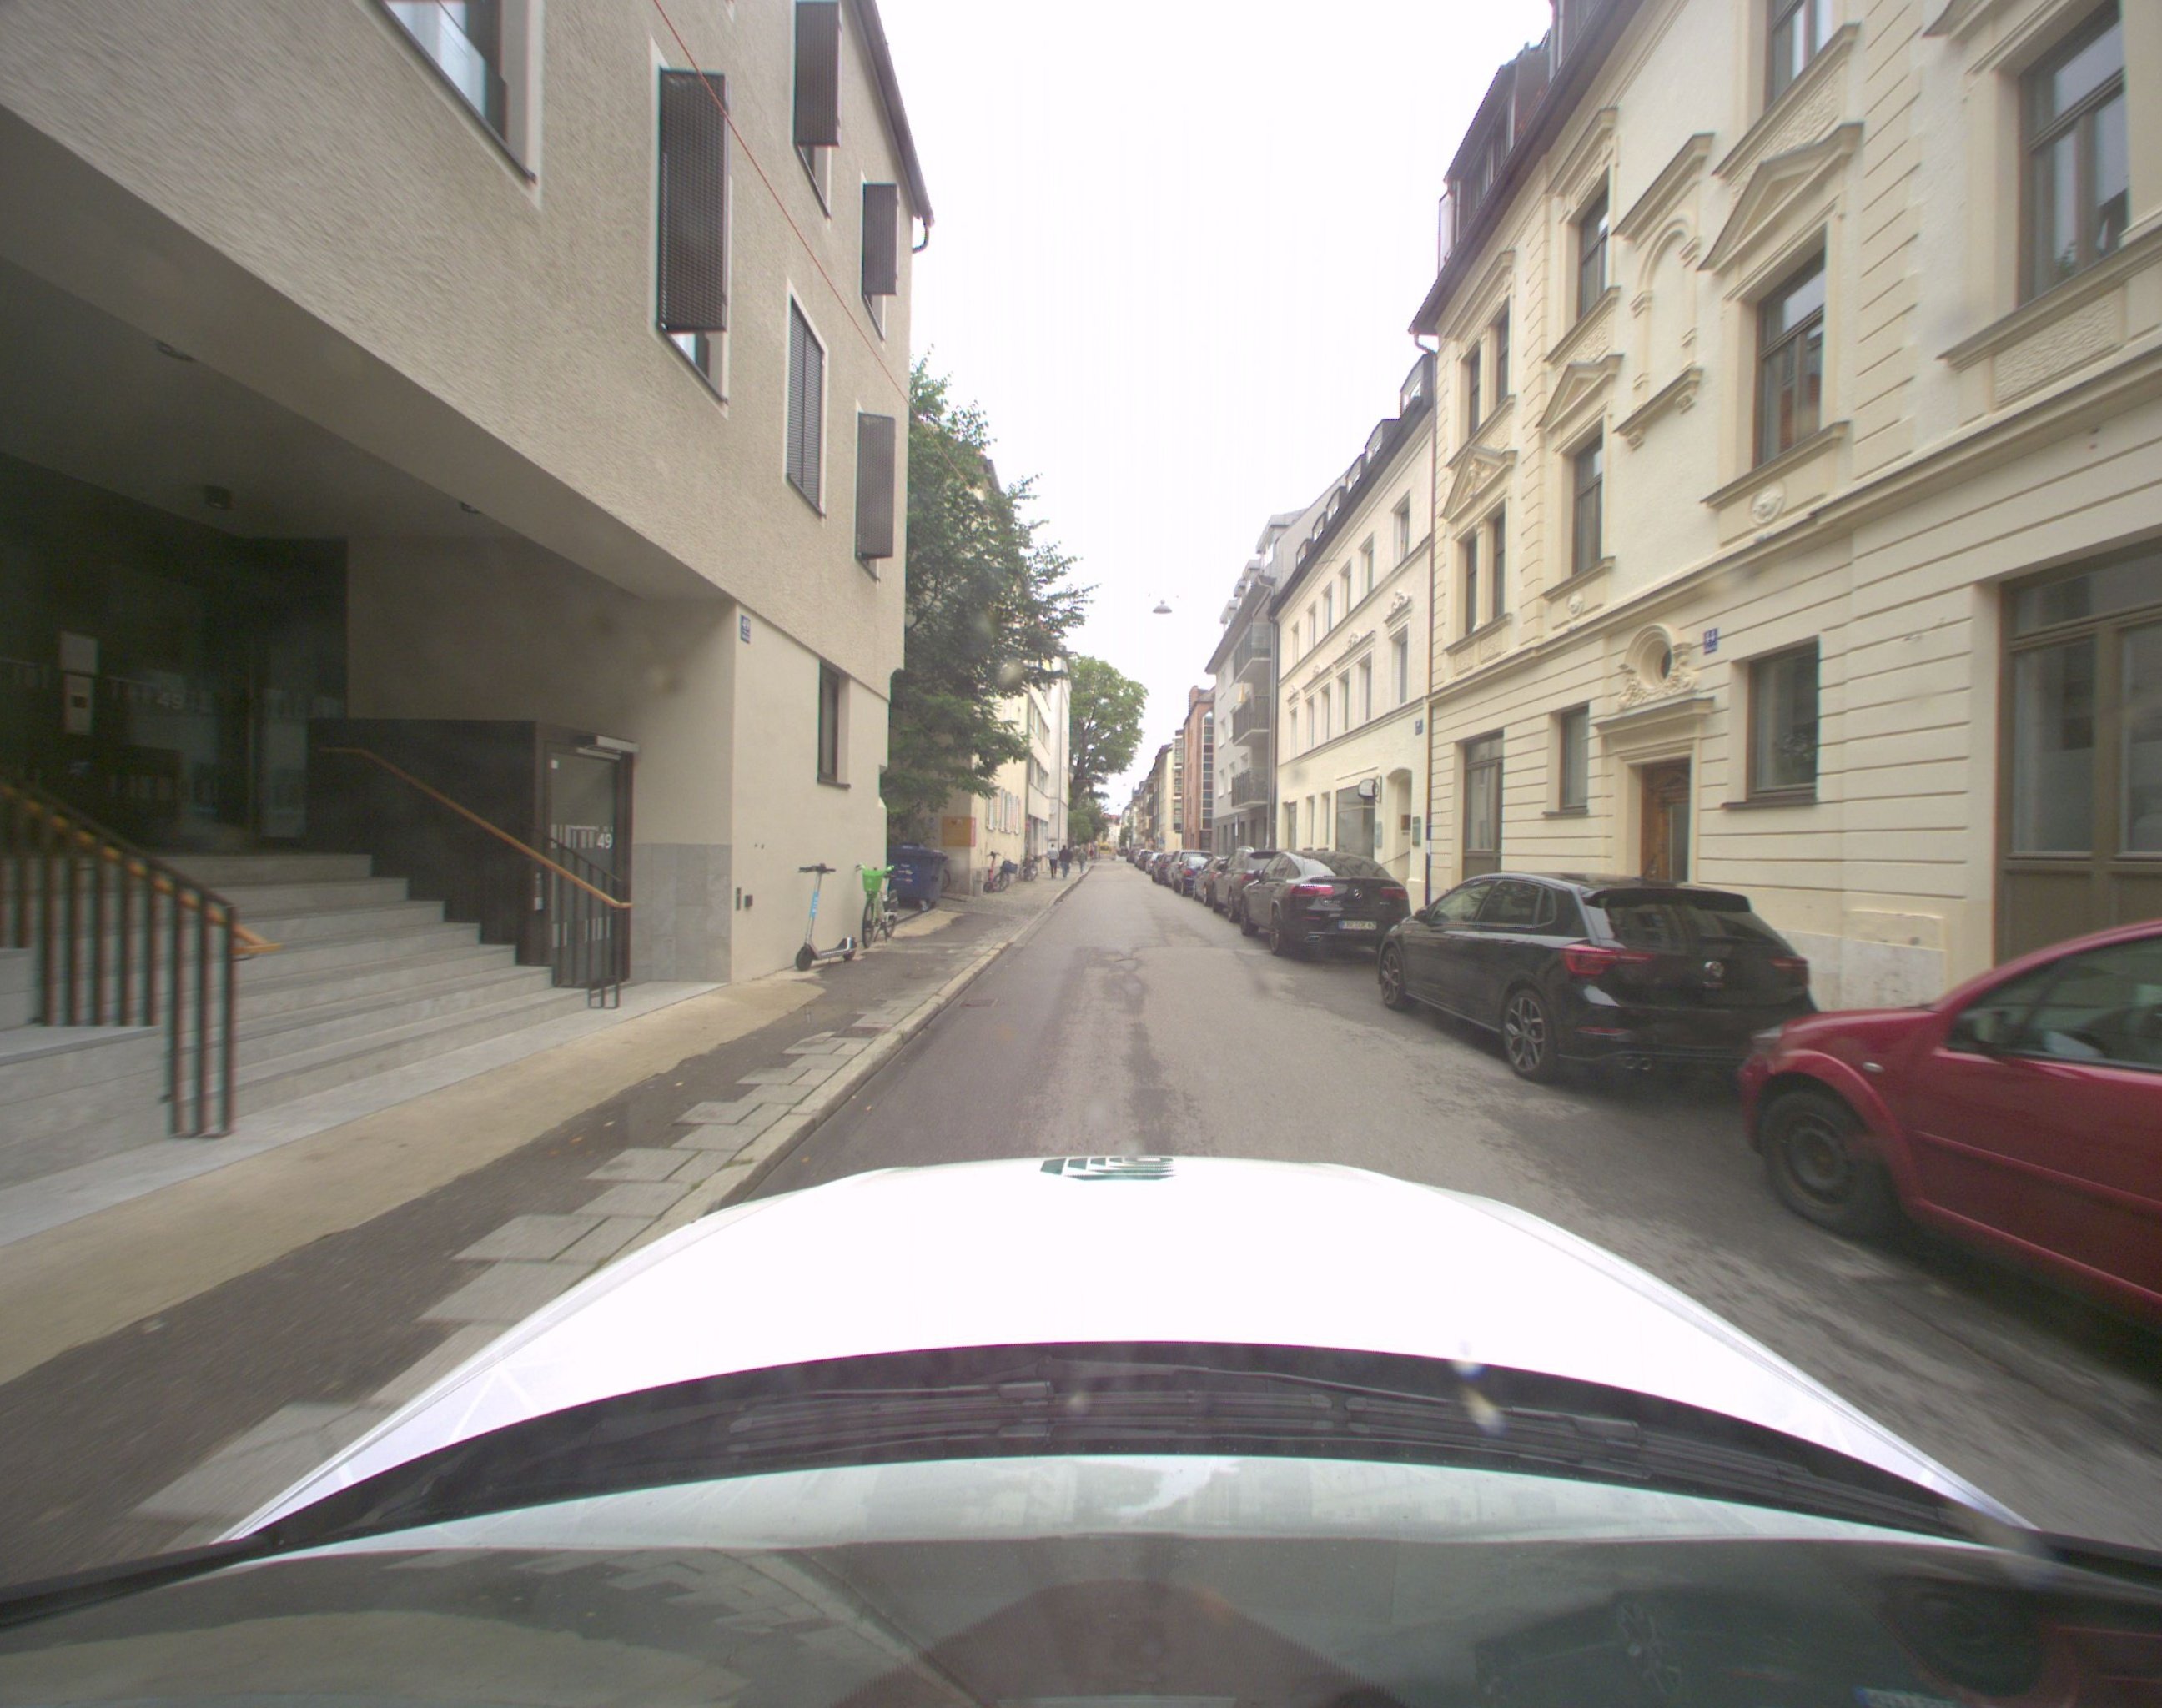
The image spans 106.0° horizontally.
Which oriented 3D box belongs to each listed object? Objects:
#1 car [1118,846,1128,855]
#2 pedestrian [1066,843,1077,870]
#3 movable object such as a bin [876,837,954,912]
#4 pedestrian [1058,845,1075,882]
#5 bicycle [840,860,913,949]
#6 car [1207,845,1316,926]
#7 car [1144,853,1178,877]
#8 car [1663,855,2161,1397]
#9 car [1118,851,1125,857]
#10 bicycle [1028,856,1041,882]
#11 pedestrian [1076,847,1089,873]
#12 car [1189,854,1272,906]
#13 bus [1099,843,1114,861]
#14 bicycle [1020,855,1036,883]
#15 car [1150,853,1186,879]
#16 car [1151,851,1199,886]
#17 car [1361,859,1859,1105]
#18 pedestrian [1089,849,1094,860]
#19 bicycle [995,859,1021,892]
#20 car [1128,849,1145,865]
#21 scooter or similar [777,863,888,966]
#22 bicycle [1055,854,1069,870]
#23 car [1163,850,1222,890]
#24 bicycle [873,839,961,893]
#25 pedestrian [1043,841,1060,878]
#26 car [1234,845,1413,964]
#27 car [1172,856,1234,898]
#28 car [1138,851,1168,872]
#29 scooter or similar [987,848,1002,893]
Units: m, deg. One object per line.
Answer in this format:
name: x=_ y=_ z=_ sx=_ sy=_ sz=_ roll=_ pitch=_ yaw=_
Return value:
car: x=9.191 y=-0.802 z=177.820 sx=1.795 sy=1.711 sz=3.826 roll=4 pitch=0 yaw=0
pedestrian: x=-0.659 y=0.177 z=53.927 sx=0.610 sy=1.713 sz=0.823 roll=3 pitch=0 yaw=1
movable object such as a bin: x=-3.550 y=0.407 z=17.555 sx=1.168 sy=1.442 sz=1.251 roll=6 pitch=2 yaw=7
pedestrian: x=-0.734 y=0.474 z=40.799 sx=0.715 sy=1.765 sz=0.838 roll=3 pitch=0 yaw=2
bicycle: x=-2.991 y=0.699 z=12.074 sx=0.542 sy=1.161 sz=1.882 roll=3 pitch=0 yaw=0
car: x=4.099 y=0.648 z=19.191 sx=1.670 sy=1.661 sz=4.514 roll=1 pitch=0 yaw=2
car: x=5.232 y=0.699 z=53.722 sx=1.830 sy=1.417 sz=4.601 roll=1 pitch=0 yaw=1
car: x=3.852 y=0.778 z=2.350 sx=1.670 sy=1.492 sz=3.855 roll=1 pitch=0 yaw=2
car: x=10.267 y=-0.031 z=206.131 sx=1.794 sy=1.614 sz=4.002 roll=1 pitch=0 yaw=2
bicycle: x=-2.137 y=0.655 z=36.997 sx=0.560 sy=1.159 sz=1.718 roll=1 pitch=0 yaw=-4
pedestrian: x=0.075 y=0.416 z=54.324 sx=0.750 sy=1.659 sz=0.907 roll=3 pitch=0 yaw=2
car: x=4.365 y=0.715 z=24.362 sx=1.793 sy=1.385 sz=4.350 roll=0 pitch=0 yaw=1
bus: x=4.656 y=-0.339 z=145.929 sx=2.583 sy=3.102 sz=6.309 roll=0 pitch=0 yaw=2
bicycle: x=-2.274 y=0.646 z=35.283 sx=0.456 sy=1.159 sz=1.606 roll=3 pitch=0 yaw=3
car: x=5.198 y=0.670 z=49.120 sx=1.739 sy=1.462 sz=4.151 roll=1 pitch=0 yaw=1
car: x=4.402 y=0.660 z=38.713 sx=1.833 sy=1.528 sz=4.293 roll=1 pitch=0 yaw=1
car: x=3.867 y=0.780 z=6.913 sx=1.670 sy=1.393 sz=4.067 roll=1 pitch=0 yaw=2
pedestrian: x=1.453 y=0.063 z=113.305 sx=0.753 sy=1.491 sz=0.831 roll=0 pitch=-1 yaw=2
bicycle: x=-2.410 y=0.705 z=27.138 sx=0.702 sy=0.984 sz=1.821 roll=5 pitch=0 yaw=-2
car: x=6.794 y=0.368 z=100.052 sx=1.795 sy=1.820 sz=3.999 roll=4 pitch=0 yaw=0
scooter or similar: x=-3.014 y=0.704 z=10.008 sx=0.547 sy=1.144 sz=1.364 roll=3 pitch=0 yaw=19
bicycle: x=-1.384 y=0.579 z=59.960 sx=0.643 sy=1.217 sz=1.655 roll=0 pitch=0 yaw=-17
car: x=4.552 y=0.615 z=33.821 sx=1.869 sy=1.570 sz=4.316 roll=0 pitch=0 yaw=0
bicycle: x=-4.412 y=0.323 z=21.987 sx=2.192 sy=1.298 sz=0.514 roll=3 pitch=0 yaw=1
pedestrian: x=-1.461 y=0.255 z=40.546 sx=0.715 sy=1.796 sz=0.917 roll=3 pitch=0 yaw=2
car: x=3.771 y=0.685 z=13.544 sx=1.695 sy=1.607 sz=4.686 roll=1 pitch=0 yaw=2
car: x=4.254 y=0.750 z=28.904 sx=1.801 sy=1.363 sz=3.948 roll=0 pitch=0 yaw=2
car: x=5.577 y=0.548 z=63.569 sx=1.879 sy=1.555 sz=4.391 roll=1 pitch=0 yaw=0
scooter or similar: x=-2.696 y=0.511 z=25.411 sx=0.316 sy=1.375 sz=1.239 roll=0 pitch=0 yaw=2
